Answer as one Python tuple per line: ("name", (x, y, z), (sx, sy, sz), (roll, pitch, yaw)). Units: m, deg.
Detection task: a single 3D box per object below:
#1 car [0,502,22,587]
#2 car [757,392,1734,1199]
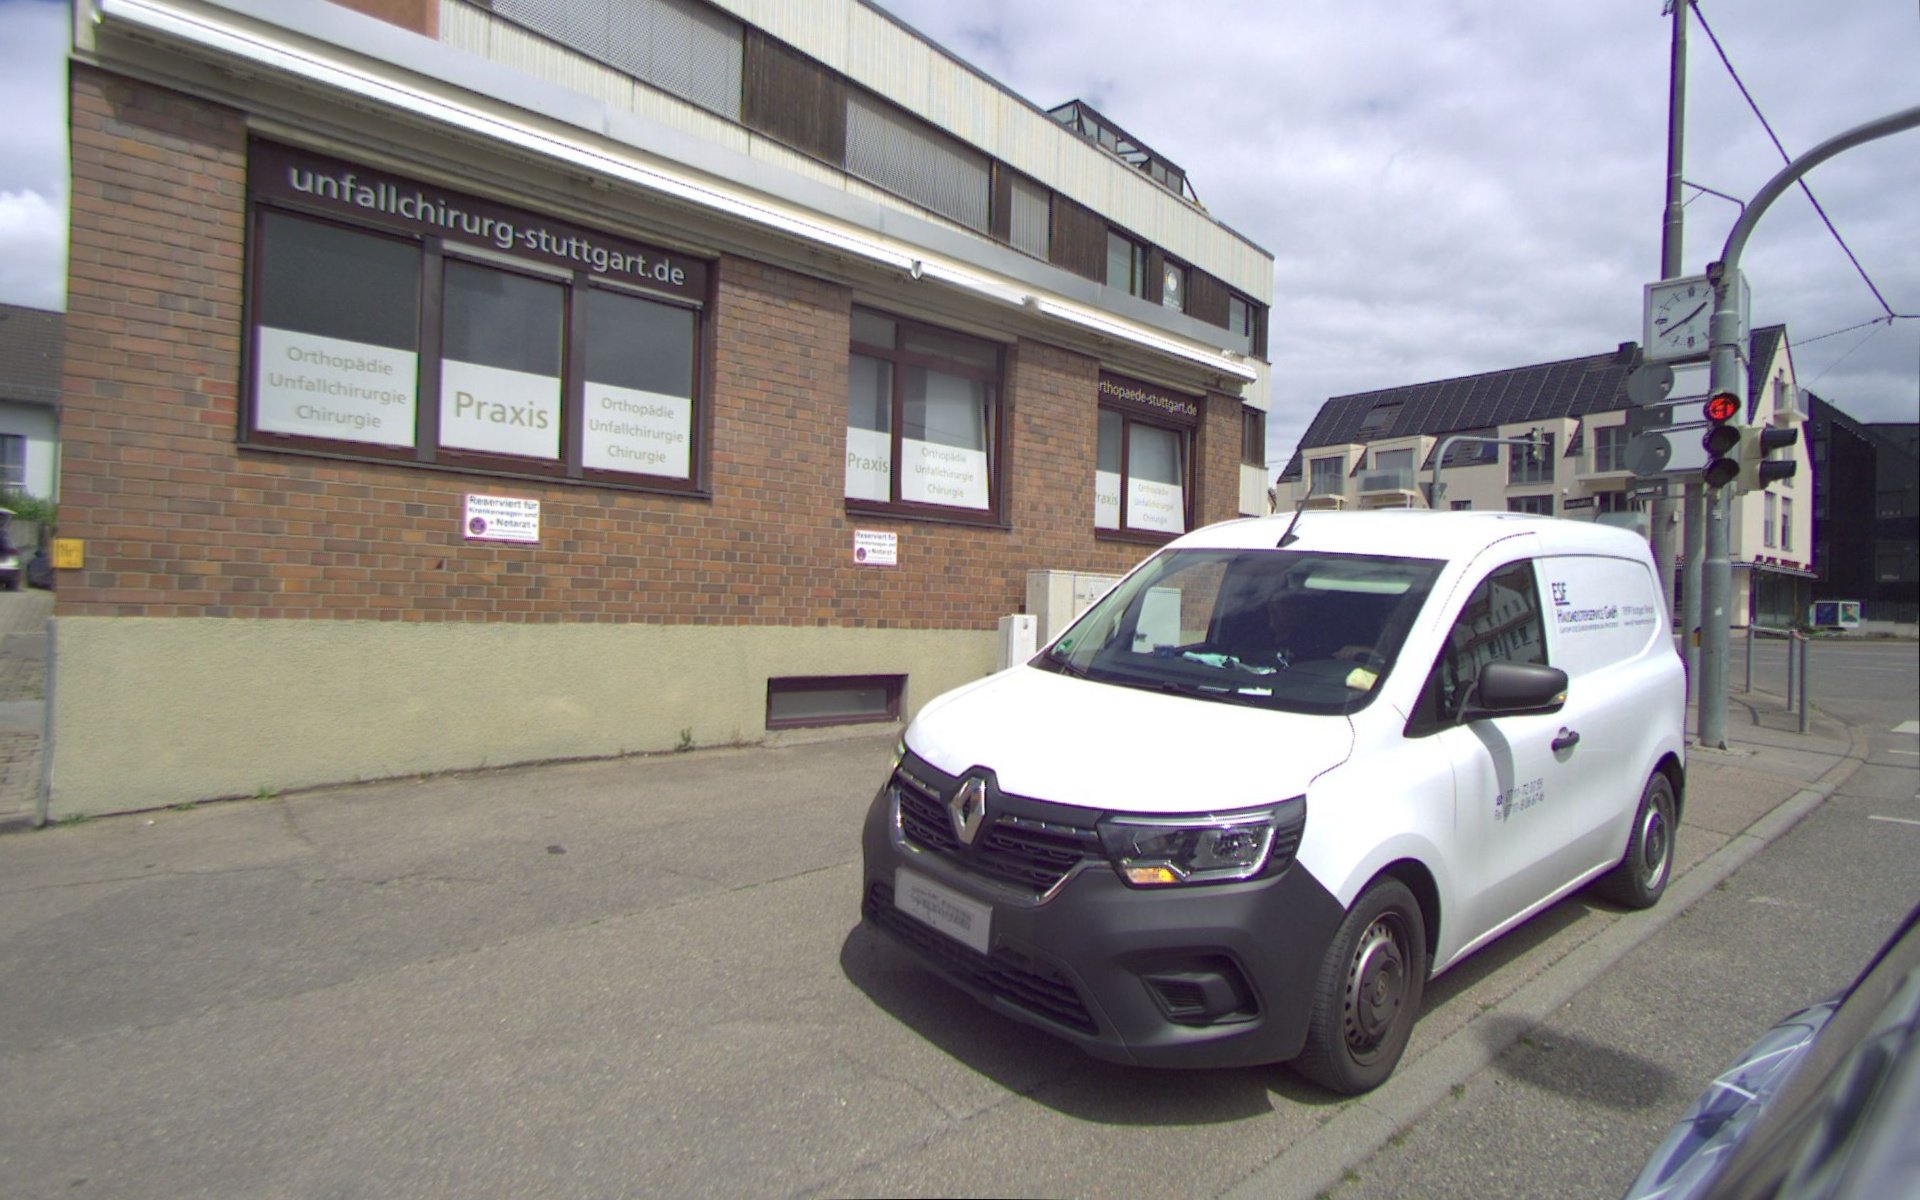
("car", (-25.499, -1.406, 25.857), (4.188, 2.071, 1.916), (2, 1, 42))
("car", (1.566, 0.398, 4.359), (4.412, 1.816, 1.915), (-1, 3, -41))
